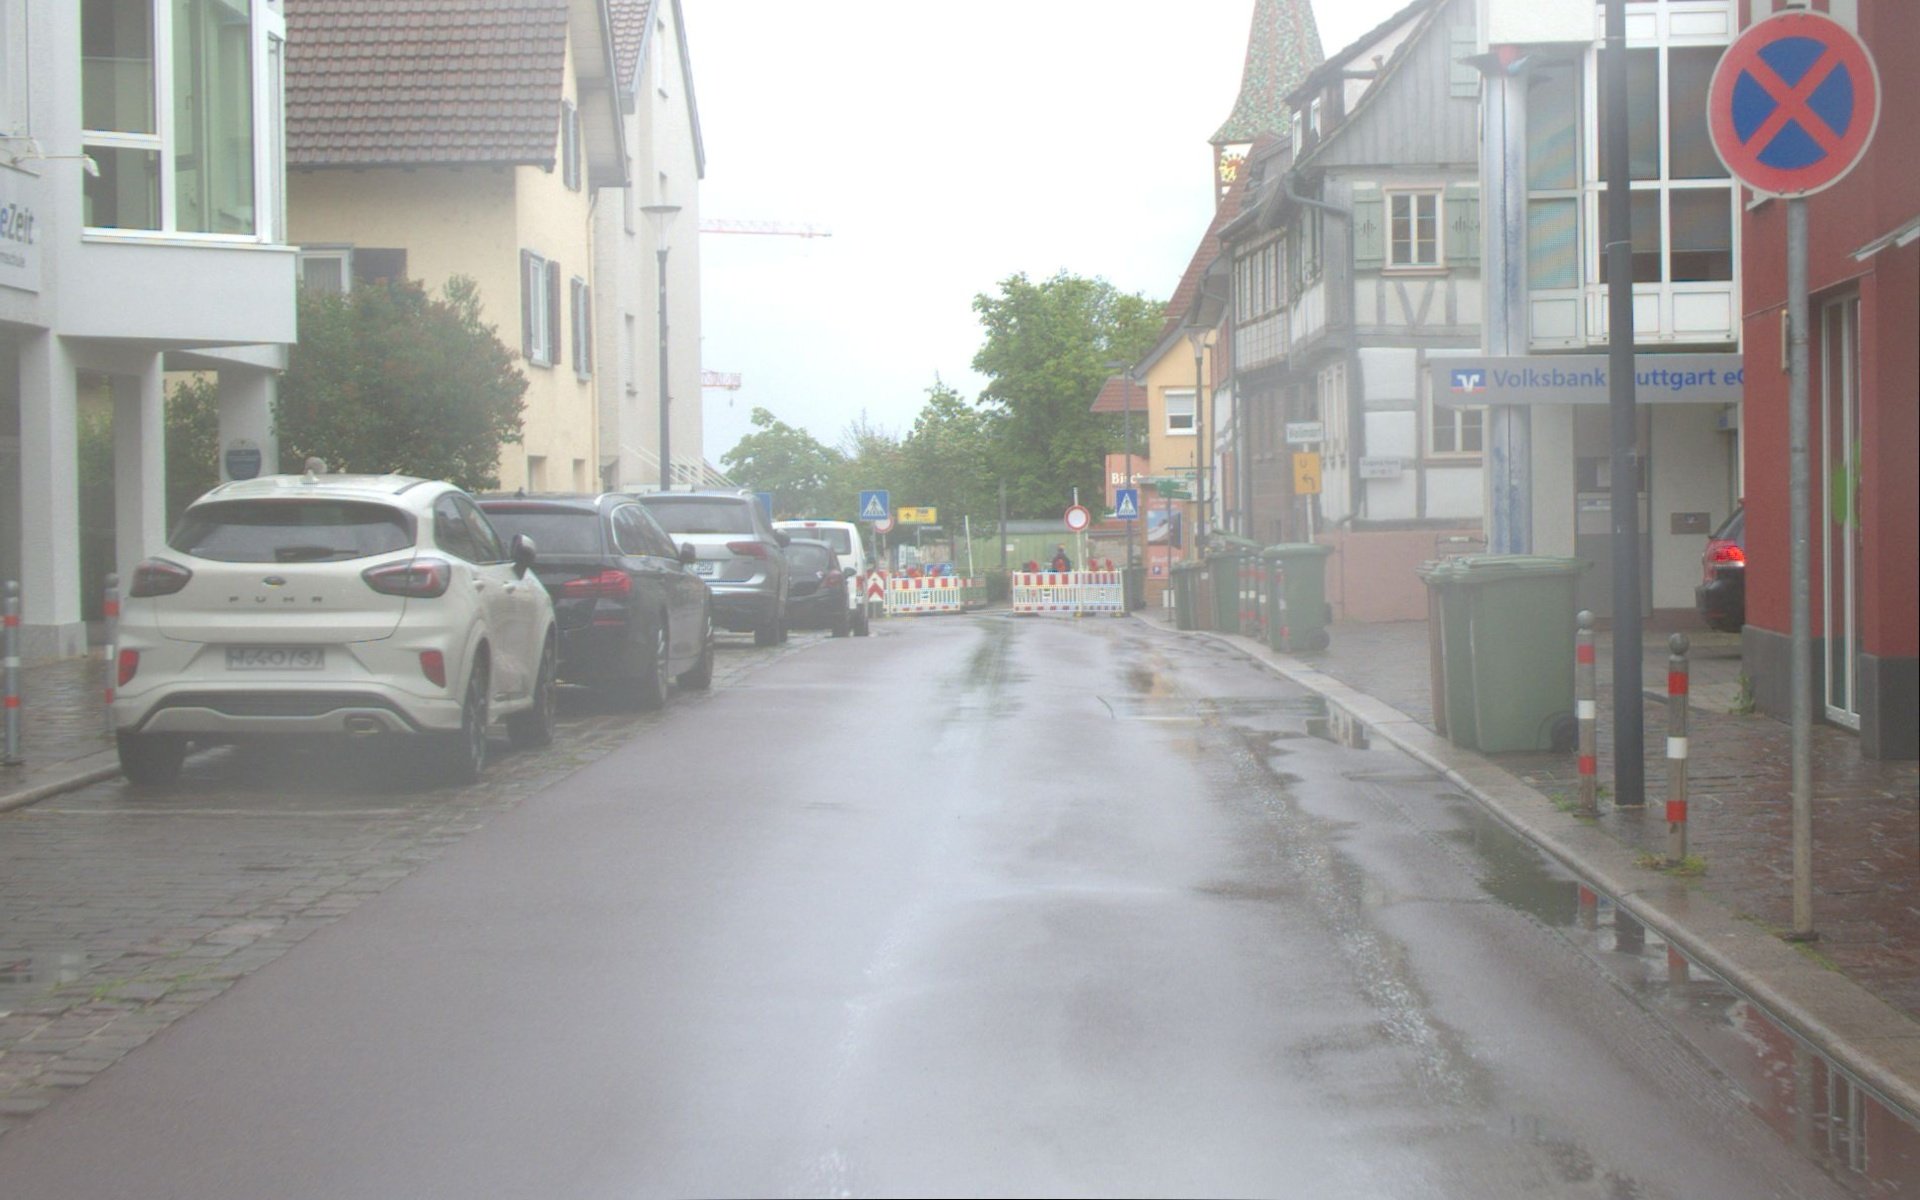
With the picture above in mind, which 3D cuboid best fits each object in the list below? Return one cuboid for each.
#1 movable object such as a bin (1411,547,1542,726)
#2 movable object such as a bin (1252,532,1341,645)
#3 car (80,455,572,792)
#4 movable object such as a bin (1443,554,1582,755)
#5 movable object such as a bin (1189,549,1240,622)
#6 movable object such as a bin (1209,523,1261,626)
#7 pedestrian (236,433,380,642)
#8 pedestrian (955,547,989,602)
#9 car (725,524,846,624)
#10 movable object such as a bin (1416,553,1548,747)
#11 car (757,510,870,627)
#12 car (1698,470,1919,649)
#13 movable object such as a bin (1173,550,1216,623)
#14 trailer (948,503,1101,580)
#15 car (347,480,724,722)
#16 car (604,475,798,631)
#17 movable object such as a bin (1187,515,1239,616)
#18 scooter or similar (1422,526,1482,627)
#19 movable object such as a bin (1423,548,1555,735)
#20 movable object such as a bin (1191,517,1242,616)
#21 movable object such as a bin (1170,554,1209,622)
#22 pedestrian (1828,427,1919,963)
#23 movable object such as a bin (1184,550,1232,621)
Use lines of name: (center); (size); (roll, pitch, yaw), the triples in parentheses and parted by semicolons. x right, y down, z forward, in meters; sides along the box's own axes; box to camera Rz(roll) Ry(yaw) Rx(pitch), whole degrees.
movable object such as a bin: (3.153, 0.214, 21.035); (0.729, 1.077, 0.646); (0, 1, 3)
movable object such as a bin: (3.376, -0.114, 34.595); (0.804, 1.127, 0.862); (0, 0, 0)
car: (-3.207, 0.034, 18.159); (1.791, 1.545, 4.000); (1, 2, 1)
movable object such as a bin: (3.024, 0.290, 18.870); (0.676, 1.082, 0.718); (0, 1, 3)
movable object such as a bin: (3.819, -0.218, 51.643); (0.678, 1.093, 0.650); (0, 0, -2)
movable object such as a bin: (3.486, -0.323, 43.535); (0.638, 1.286, 0.632); (0, 0, 6)
pedestrian: (-5.752, -0.555, 30.382); (1.035, 1.800, 1.116); (0, 1, 1)
pedestrian: (0.384, -0.800, 109.028); (0.990, 1.753, 0.852); (0, 0, -5)
car: (-2.515, -0.362, 50.092); (1.680, 1.384, 3.826); (0, 0, -2)
movable object such as a bin: (2.971, 0.277, 19.619); (0.676, 1.080, 0.698); (0, 1, 3)
car: (-2.350, -0.495, 55.913); (1.723, 1.819, 4.428); (0, 0, -1)
car: (8.655, -0.379, 30.724); (3.989, 1.509, 1.910); (-2, 0, 12)
movable object such as a bin: (3.706, -0.215, 54.327); (0.638, 1.143, 0.603); (0, 0, 6)
trailer: (2.470, -2.250, 133.443); (5.780, 2.937, 2.000); (0, 0, -4)
car: (-2.853, -0.056, 24.144); (1.830, 1.493, 4.763); (-1, 1, 3)
car: (-2.708, -0.467, 36.808); (1.779, 1.563, 4.408); (0, 0, -1)
movable object such as a bin: (3.262, -0.437, 44.229); (0.638, 1.286, 0.632); (0, 0, 6)
scooter or similar: (5.682, -0.263, 39.705); (0.665, 1.142, 1.445); (0, 0, 8)
movable object such as a bin: (3.128, 0.237, 20.378); (0.710, 1.090, 0.614); (0, 1, 3)
movable object such as a bin: (3.350, -0.431, 44.951); (0.638, 1.286, 0.632); (0, 0, 6)
movable object such as a bin: (3.817, -0.203, 57.206); (0.609, 1.124, 0.599); (0, 0, 1)
pedestrian: (3.589, 0.277, 11.168); (1.177, 1.691, 1.177); (-2, 1, -1)
movable object such as a bin: (3.823, -0.223, 53.002); (0.669, 1.078, 0.588); (-1, -1, 0)
